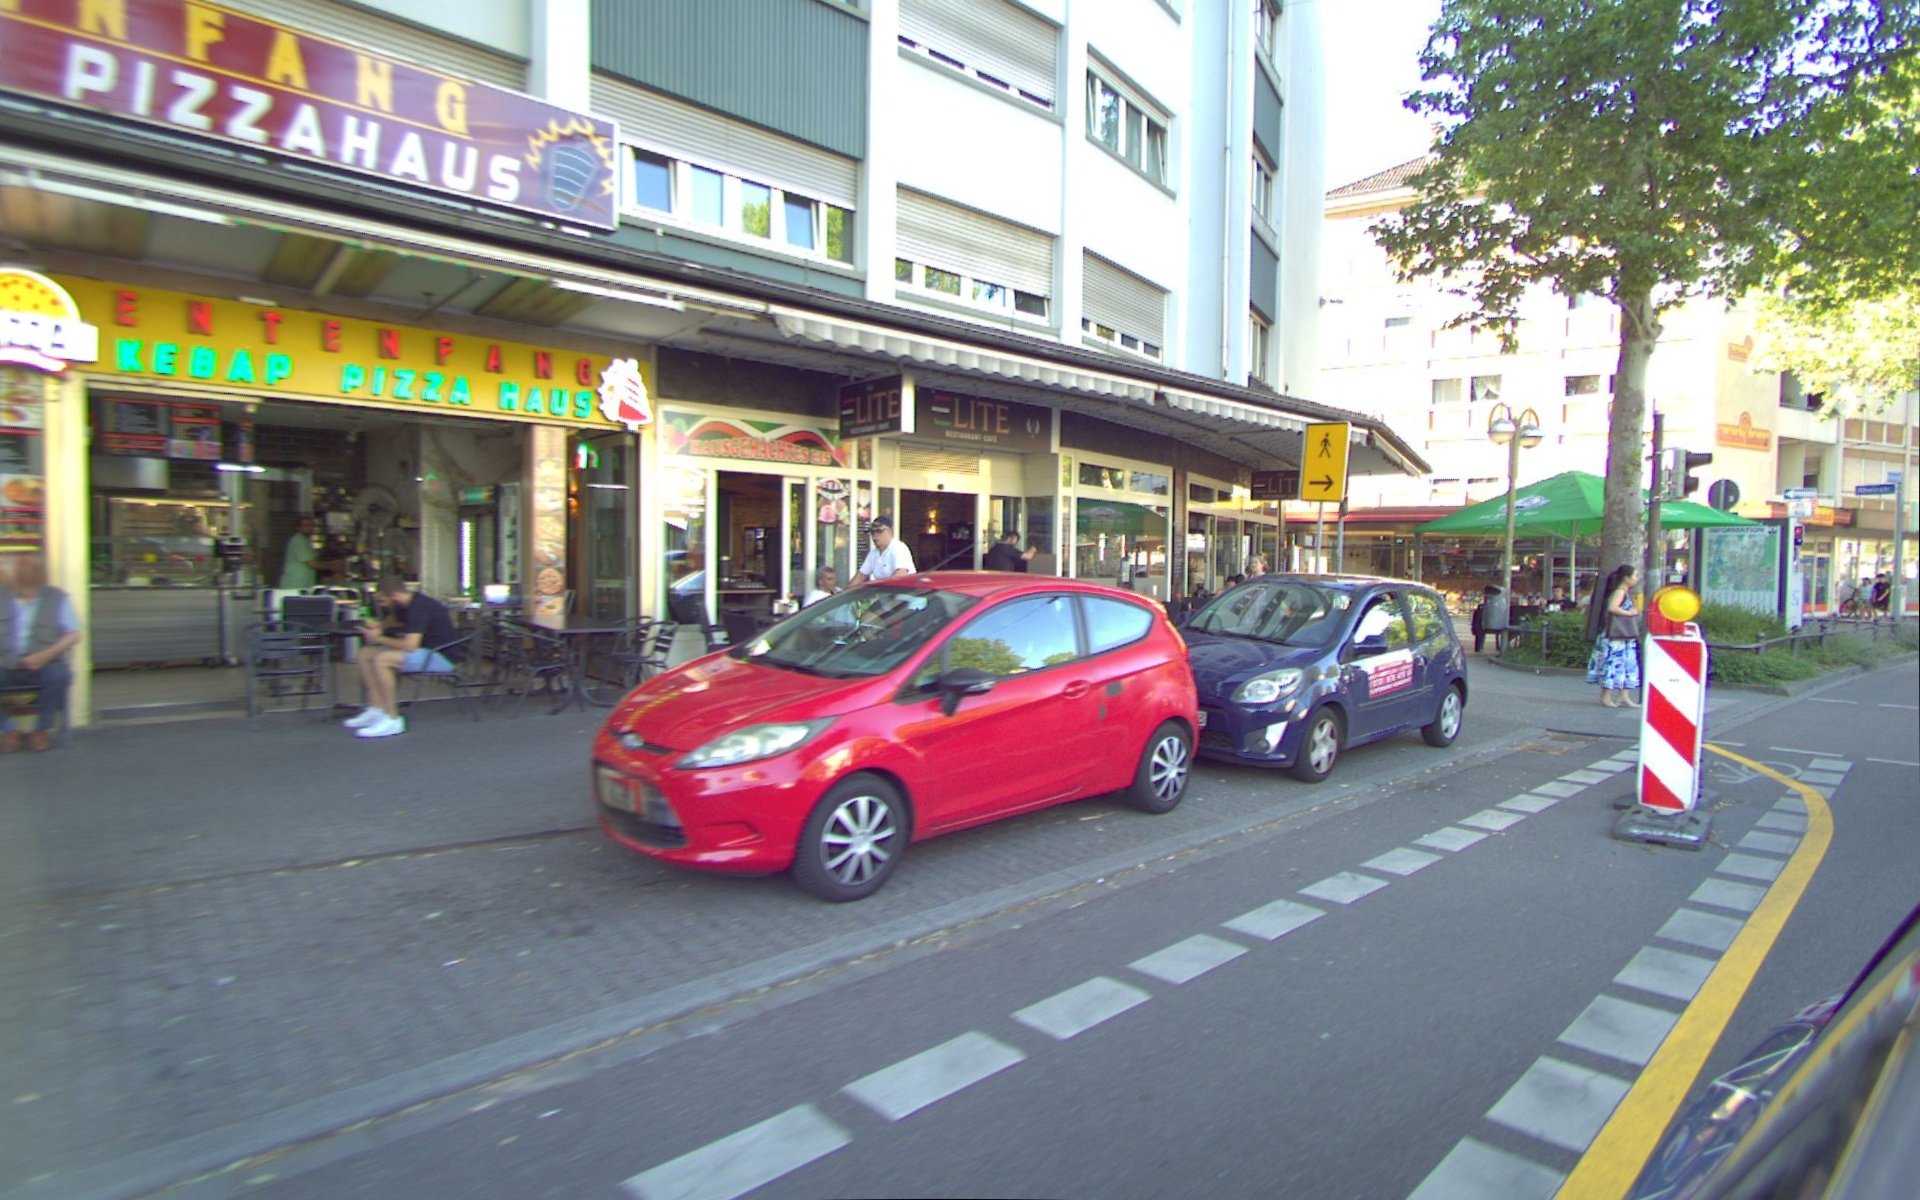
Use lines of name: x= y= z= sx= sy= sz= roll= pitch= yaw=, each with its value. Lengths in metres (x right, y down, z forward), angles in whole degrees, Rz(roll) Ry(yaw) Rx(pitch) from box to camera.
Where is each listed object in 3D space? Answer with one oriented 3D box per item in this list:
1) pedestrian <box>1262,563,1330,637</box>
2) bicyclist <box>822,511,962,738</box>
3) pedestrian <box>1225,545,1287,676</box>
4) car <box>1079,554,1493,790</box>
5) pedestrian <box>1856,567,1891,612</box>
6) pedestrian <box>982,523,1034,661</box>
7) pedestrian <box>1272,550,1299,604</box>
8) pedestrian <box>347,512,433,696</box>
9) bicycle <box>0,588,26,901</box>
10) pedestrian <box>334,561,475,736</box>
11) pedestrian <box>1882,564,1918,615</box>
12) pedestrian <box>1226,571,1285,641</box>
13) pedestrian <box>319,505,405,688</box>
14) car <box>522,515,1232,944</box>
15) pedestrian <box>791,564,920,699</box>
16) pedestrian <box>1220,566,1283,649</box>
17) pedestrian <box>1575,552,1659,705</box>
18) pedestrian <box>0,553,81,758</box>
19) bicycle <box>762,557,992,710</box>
pedestrian: x=5.681 y=-0.018 z=17.152 sx=0.685 sy=1.207 sz=0.881 roll=0 pitch=2 yaw=-17
bicyclist: x=-0.596 y=0.171 z=8.802 sx=0.910 sy=1.848 sz=0.753 roll=-1 pitch=4 yaw=-41
pedestrian: x=3.876 y=0.118 z=13.258 sx=0.624 sy=1.657 sz=0.525 roll=2 pitch=2 yaw=35
car: x=2.872 y=0.420 z=8.585 sx=3.551 sy=1.485 sz=1.770 roll=-1 pitch=6 yaw=-43
pedestrian: x=29.538 y=-0.342 z=32.711 sx=0.520 sy=1.455 sz=0.630 roll=0 pitch=2 yaw=-20
pedestrian: x=0.640 y=-0.125 z=13.505 sx=0.547 sy=1.800 sz=0.395 roll=-2 pitch=5 yaw=-42
pedestrian: x=12.108 y=-0.856 z=37.704 sx=0.636 sy=1.983 sz=0.890 roll=1 pitch=2 yaw=-4
pedestrian: x=-5.131 y=0.019 z=9.104 sx=0.588 sy=1.566 sz=0.702 roll=-1 pitch=2 yaw=-37
bicycle: x=-3.443 y=0.681 z=2.823 sx=0.543 sy=1.168 sz=2.402 roll=0 pitch=7 yaw=-26
pedestrian: x=-4.236 y=0.332 z=7.714 sx=0.798 sy=1.224 sz=0.654 roll=-1 pitch=4 yaw=-44
pedestrian: x=29.856 y=-0.341 z=32.135 sx=0.520 sy=1.605 sz=0.630 roll=0 pitch=2 yaw=-20
pedestrian: x=5.281 y=0.097 z=18.093 sx=0.776 sy=1.207 sz=0.648 roll=-1 pitch=2 yaw=-33
pedestrian: x=-5.373 y=-0.046 z=9.089 sx=0.588 sy=1.560 sz=0.702 roll=-1 pitch=2 yaw=-37
car: x=-0.267 y=0.415 z=5.832 sx=3.760 sy=1.614 sz=1.784 roll=-1 pitch=6 yaw=-44
pedestrian: x=-1.133 y=0.296 z=10.886 sx=0.937 sy=1.352 sz=1.070 roll=-1 pitch=2 yaw=-41
pedestrian: x=4.801 y=0.110 z=16.698 sx=0.685 sy=1.323 sz=0.793 roll=0 pitch=2 yaw=-12
pedestrian: x=7.473 y=0.291 z=11.507 sx=0.783 sy=1.666 sz=0.583 roll=-1 pitch=3 yaw=-42
pedestrian: x=-6.073 y=0.331 z=6.559 sx=0.550 sy=1.251 sz=0.690 roll=0 pitch=4 yaw=-42
bicycle: x=-0.681 y=0.254 z=8.734 sx=1.853 sy=1.143 sz=0.751 roll=0 pitch=4 yaw=-42
